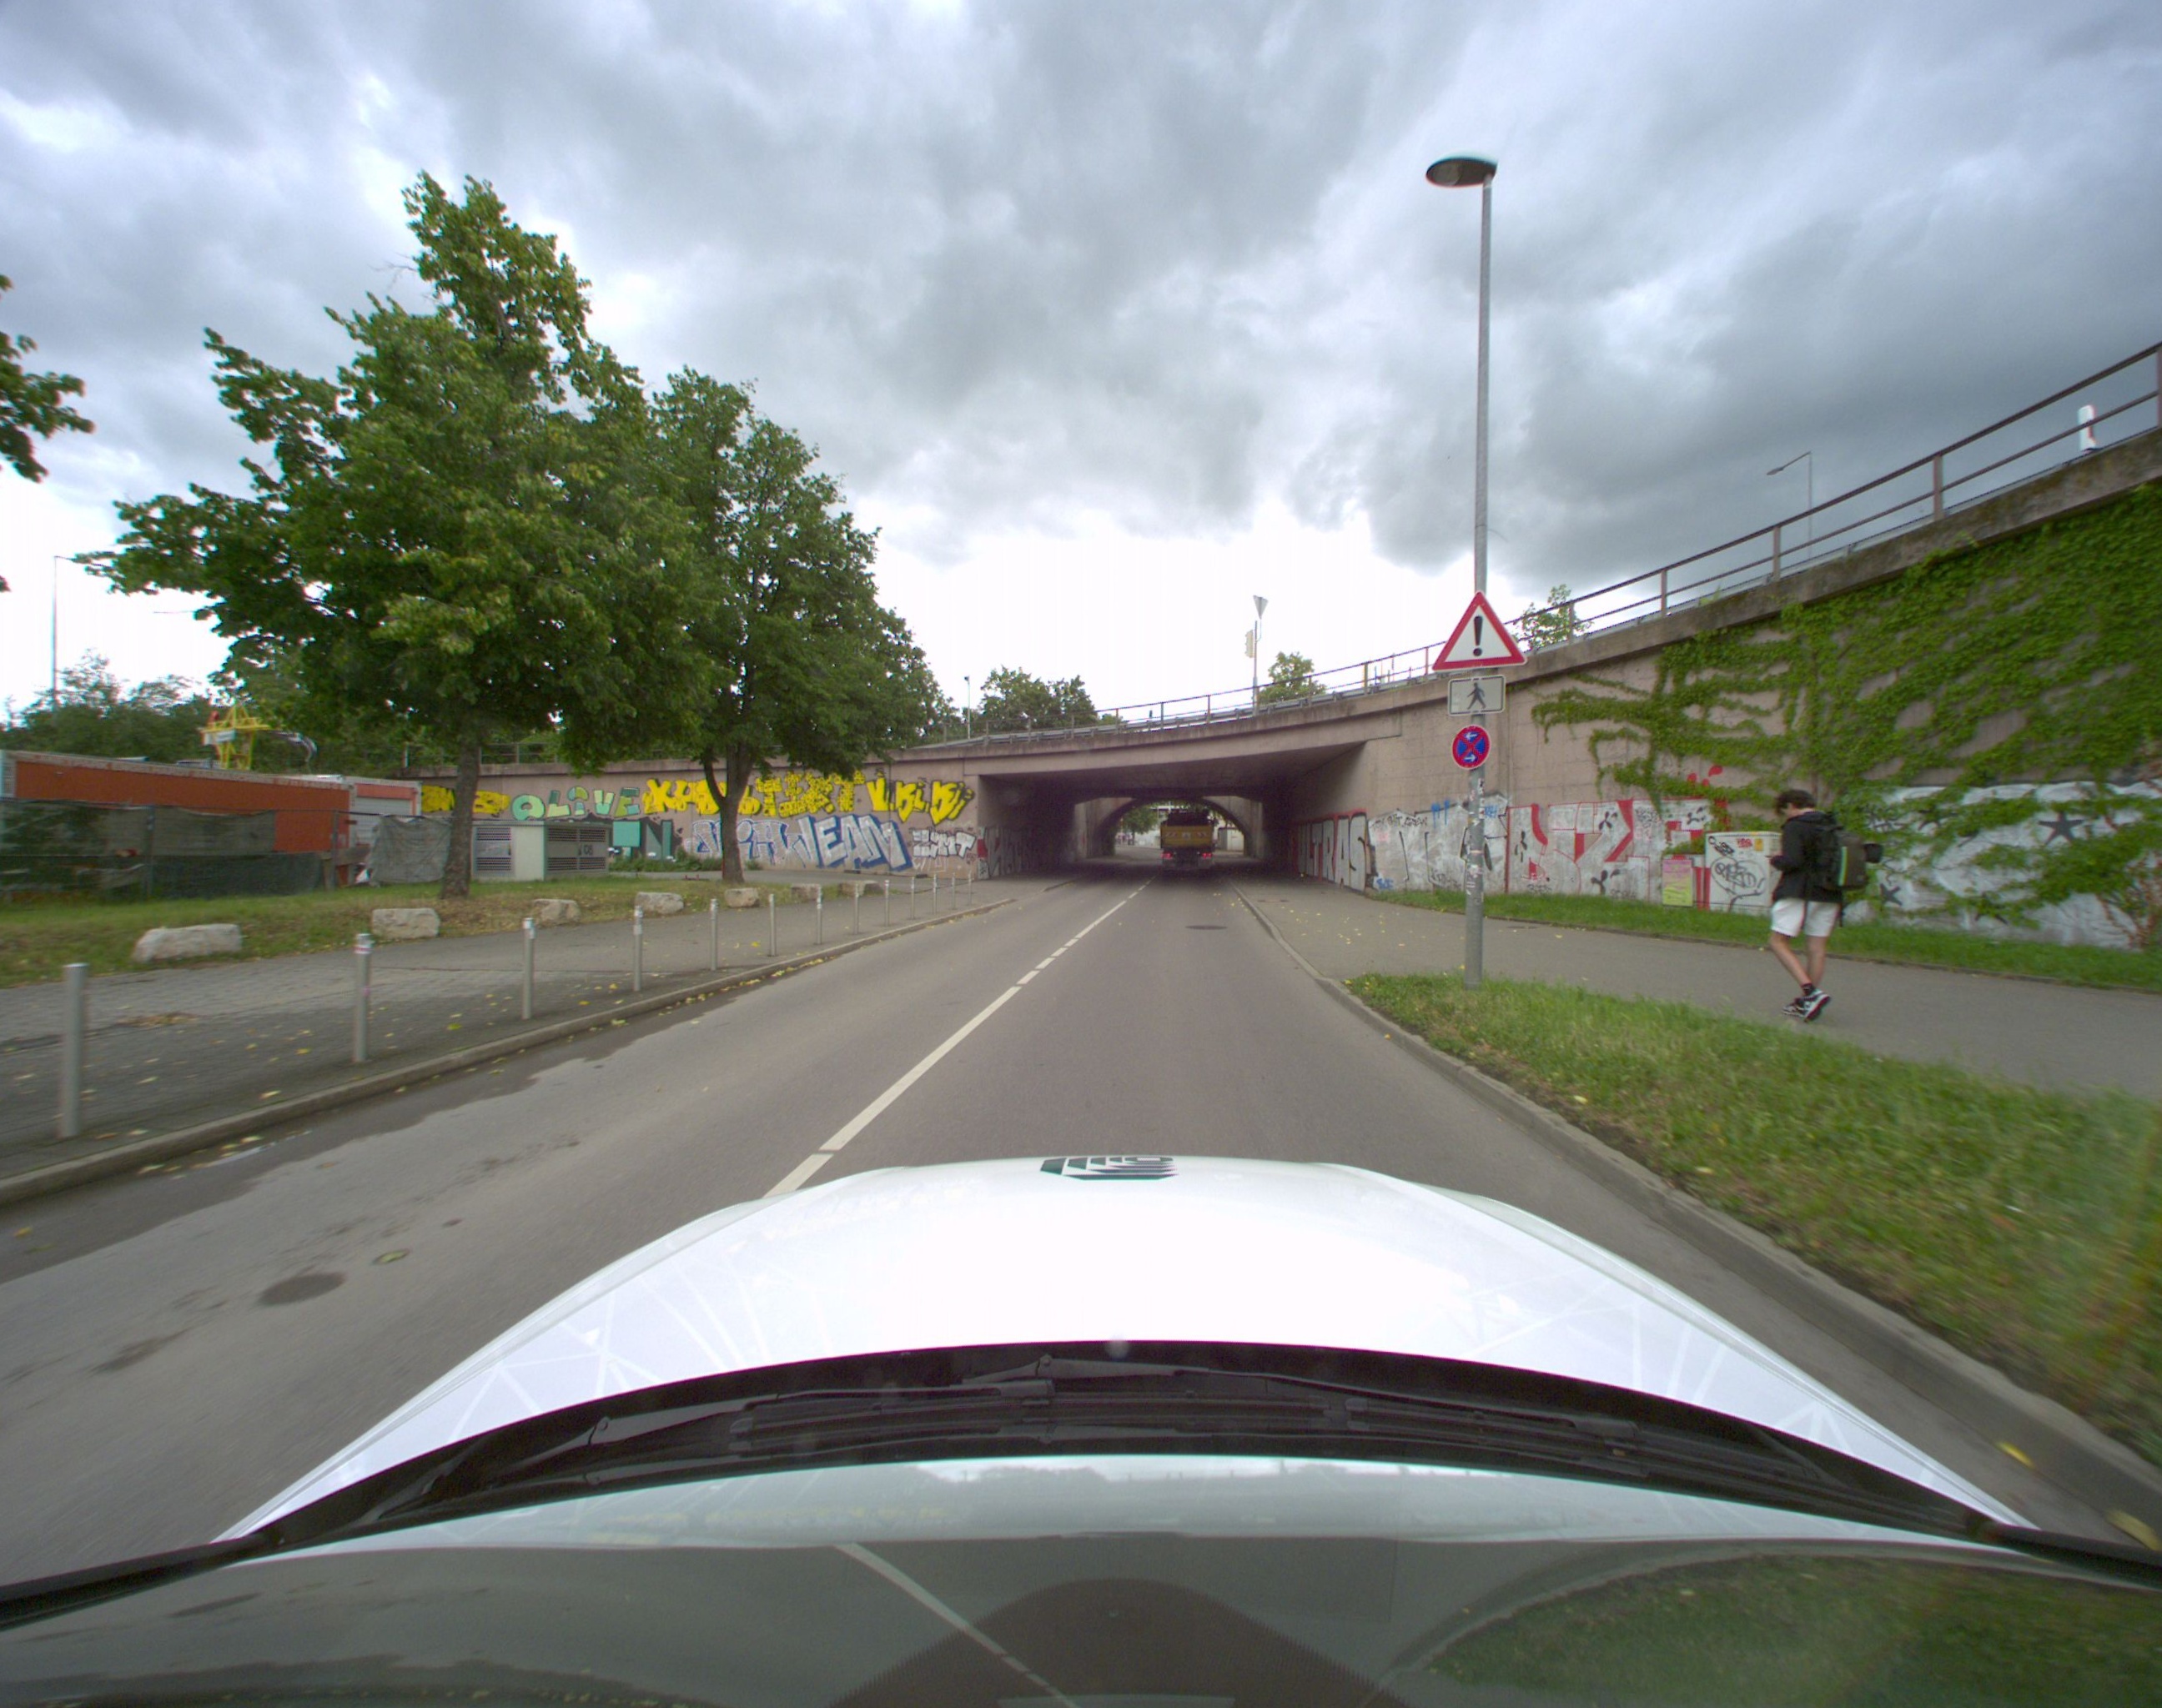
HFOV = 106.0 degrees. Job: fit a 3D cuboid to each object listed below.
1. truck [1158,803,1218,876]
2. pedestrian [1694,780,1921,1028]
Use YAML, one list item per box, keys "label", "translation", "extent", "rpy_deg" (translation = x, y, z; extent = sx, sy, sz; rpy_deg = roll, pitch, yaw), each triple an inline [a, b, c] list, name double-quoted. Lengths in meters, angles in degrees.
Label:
- label: "truck"
  translation: [5.832, -0.759, 43.441]
  extent: [2.748, 3.483, 8.152]
  rpy_deg: [-1, 1, 10]
- label: "pedestrian"
  translation: [6.049, 0.381, 6.871]
  extent: [0.816, 1.879, 1.181]
  rpy_deg: [-2, 0, 2]
